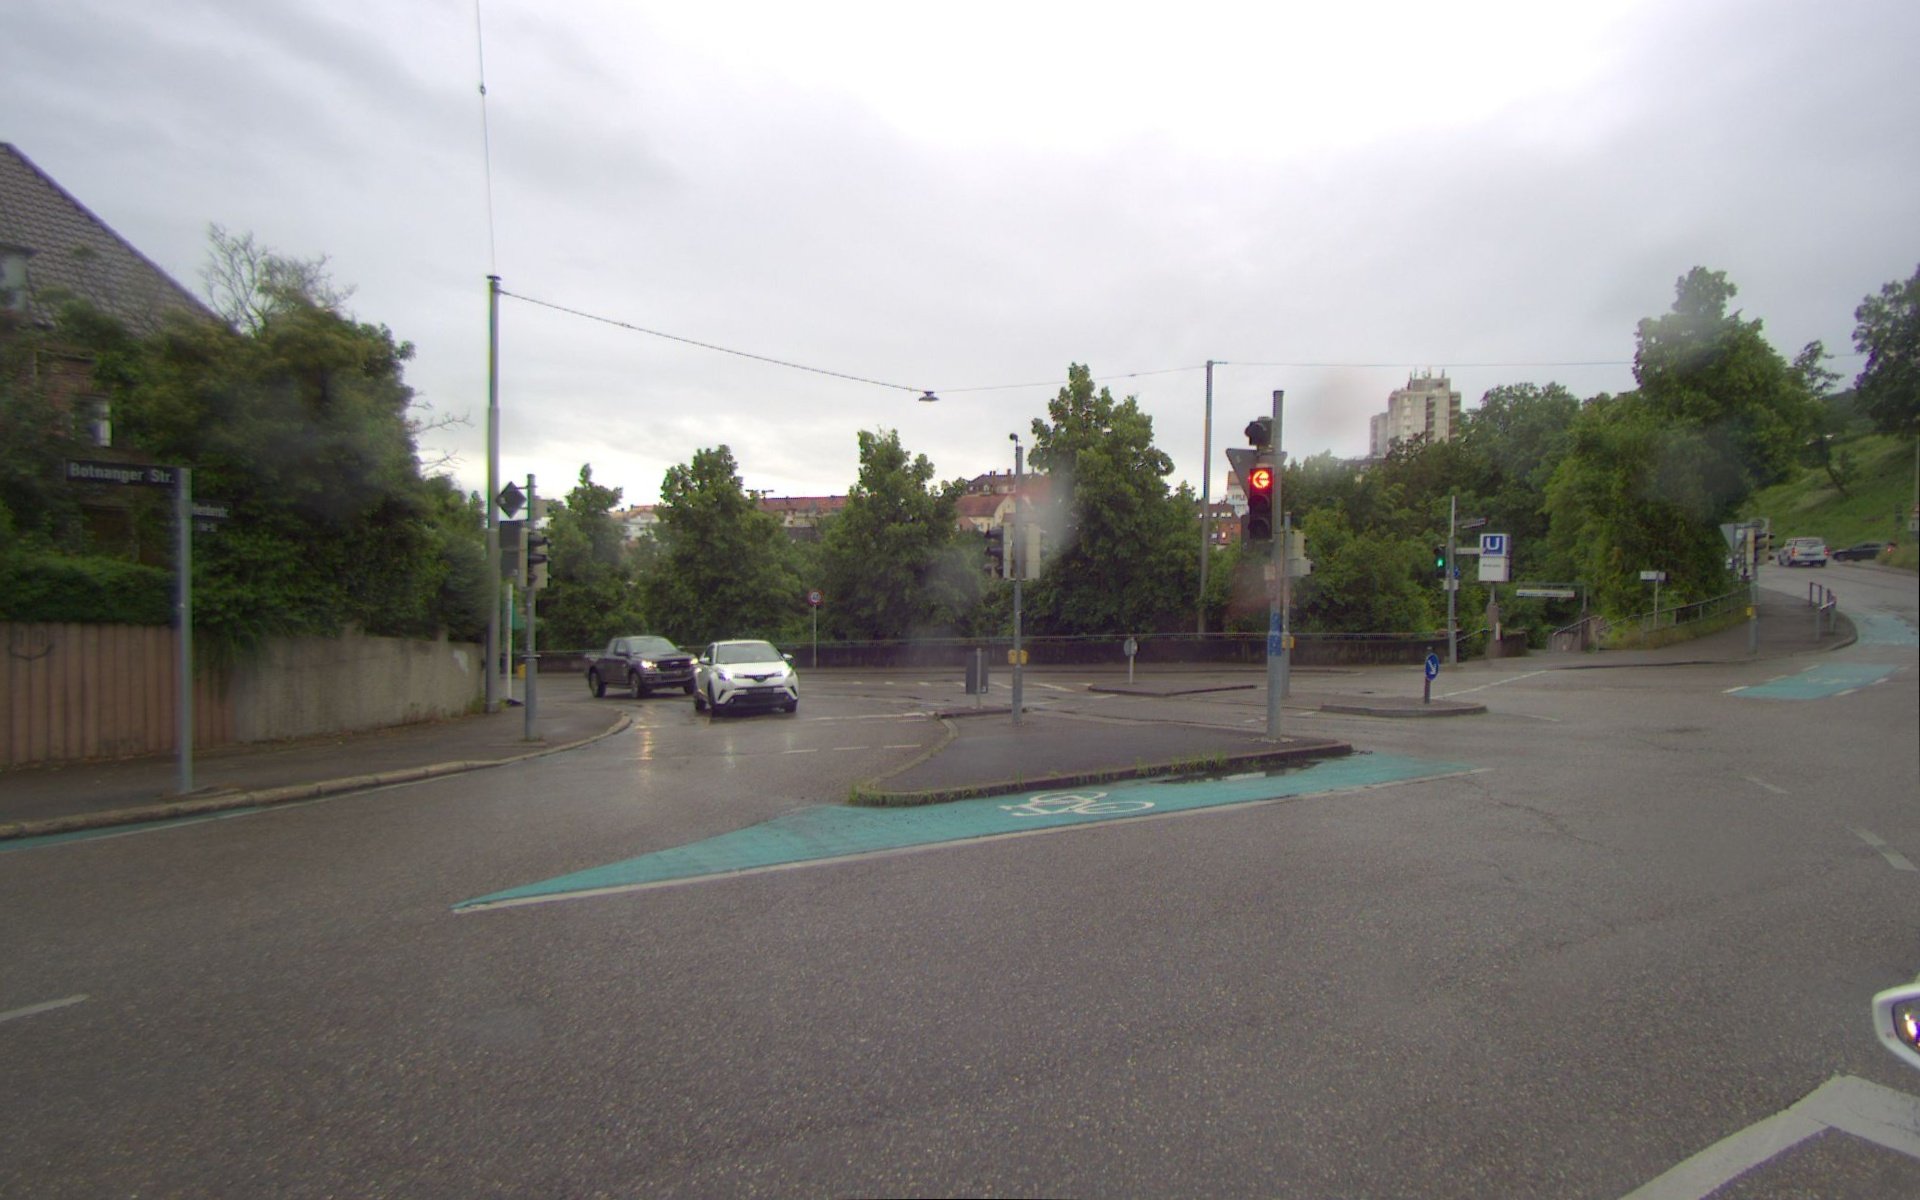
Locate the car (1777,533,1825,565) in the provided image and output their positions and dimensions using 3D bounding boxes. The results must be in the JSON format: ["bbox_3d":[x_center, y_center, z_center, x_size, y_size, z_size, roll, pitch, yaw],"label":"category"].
[{"bbox_3d":[59.156,-3.567,70.725,2.037,2.033,4.801,1,1,33],"label":"car"}]

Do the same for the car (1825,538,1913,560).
[{"bbox_3d":[66.400,-3.718,73.469,1.930,1.532,4.389,-1,2,-16],"label":"car"}]

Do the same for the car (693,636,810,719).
[{"bbox_3d":[-4.579,1.630,21.630,1.810,1.527,3.866,-2,-2,-21],"label":"car"}]

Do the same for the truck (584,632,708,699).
[{"bbox_3d":[-9.713,2.028,30.808,1.892,1.809,4.935,-1,-3,-39],"label":"truck"}]
